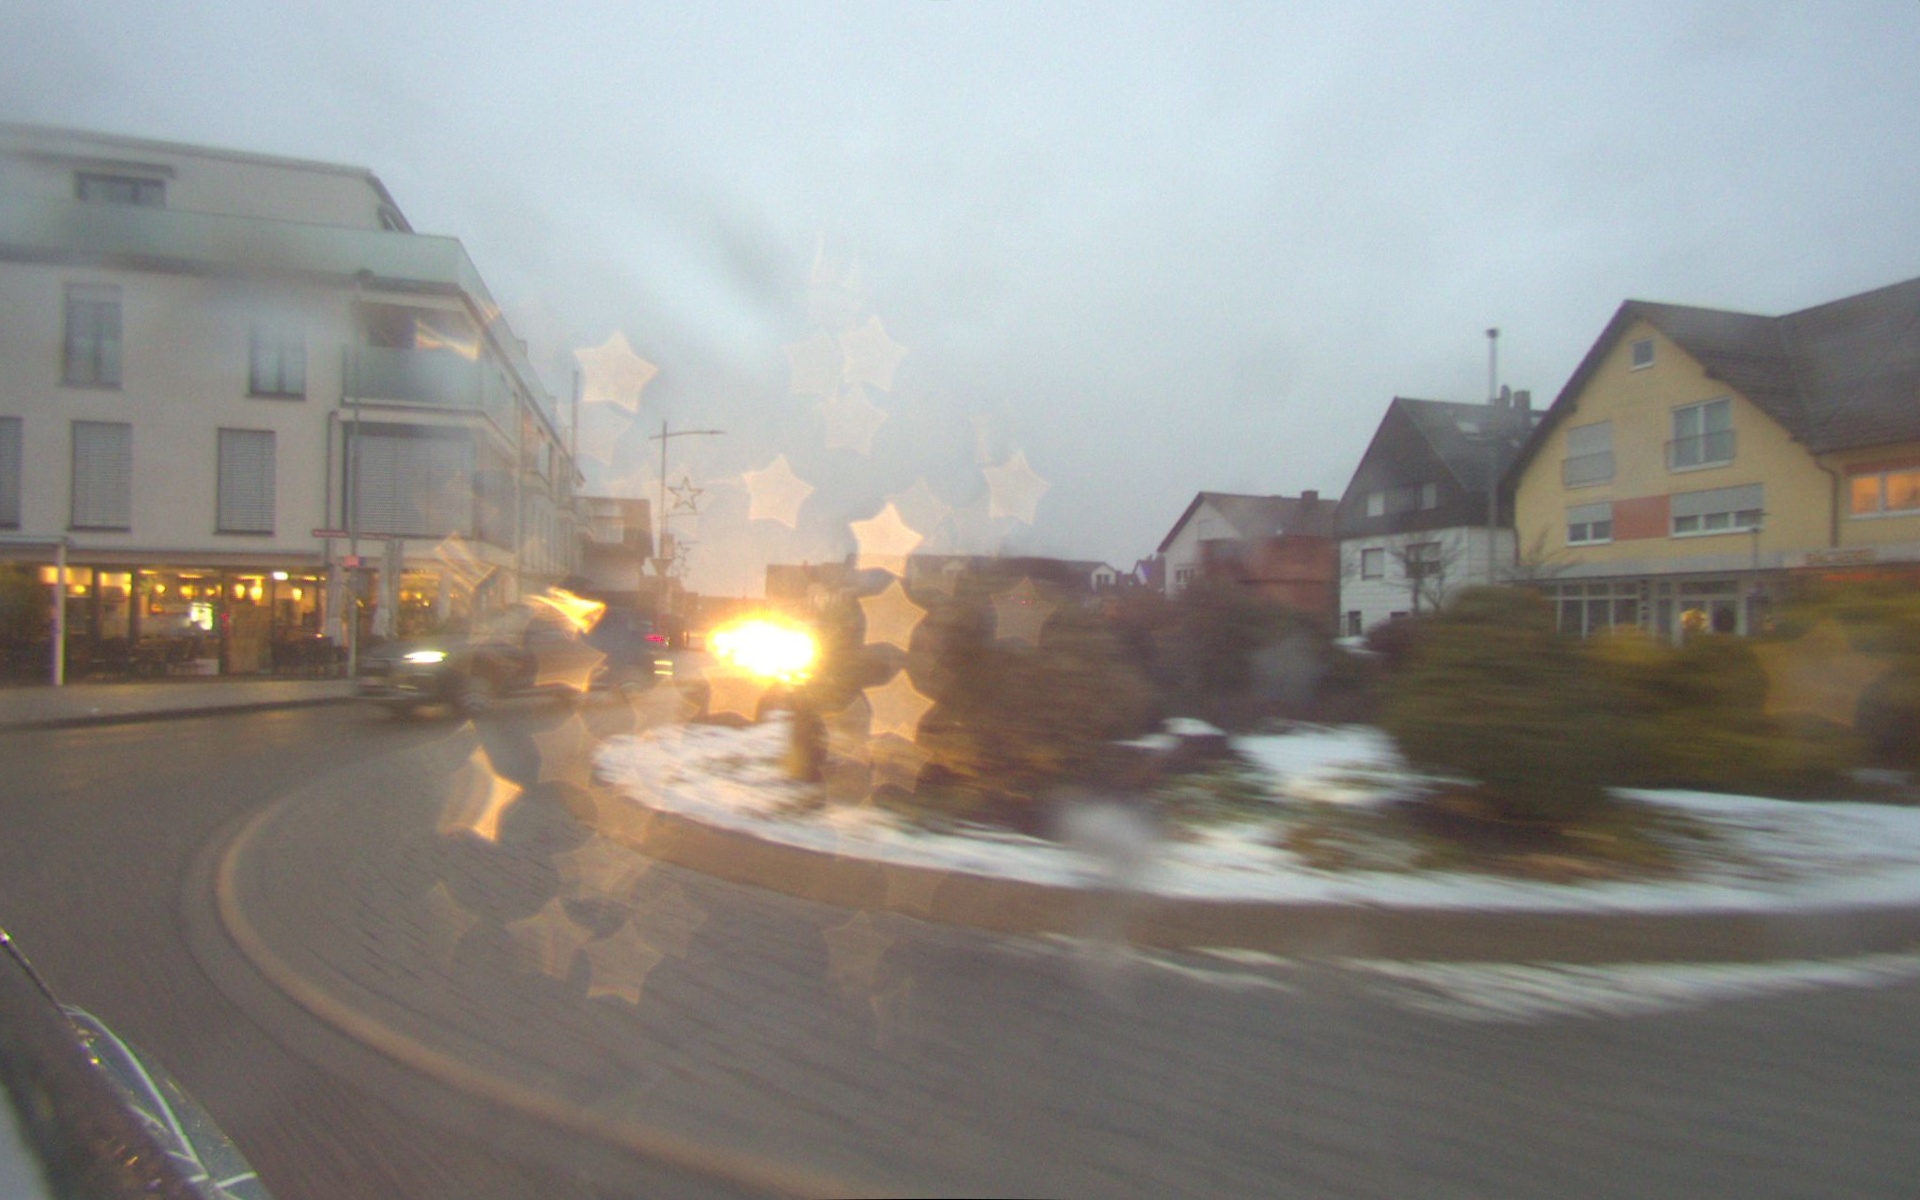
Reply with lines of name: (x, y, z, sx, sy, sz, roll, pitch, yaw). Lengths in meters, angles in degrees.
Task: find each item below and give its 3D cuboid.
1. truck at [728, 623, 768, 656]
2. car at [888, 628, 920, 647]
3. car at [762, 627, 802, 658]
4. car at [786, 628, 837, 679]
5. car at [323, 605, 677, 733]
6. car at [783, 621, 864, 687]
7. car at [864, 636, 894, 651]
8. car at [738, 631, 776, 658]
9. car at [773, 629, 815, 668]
truck: (-15.535, 2.874, 73.934, 2.210, 2.247, 6.123, 0, -2, -18)
car: (-5.731, 3.840, 103.317, 1.769, 1.841, 4.271, 2, -2, -26)
car: (-9.050, 2.144, 51.304, 1.713, 1.454, 4.010, -1, -2, -14)
car: (-5.122, 1.783, 34.795, 1.655, 1.636, 4.007, 0, -2, -9)
car: (-6.724, 0.900, 15.320, 1.948, 1.605, 4.580, -1, 0, 33)
car: (-3.799, 1.432, 27.643, 1.858, 1.591, 4.009, 3, -2, -12)
car: (-8.695, 4.682, 108.680, 1.647, 1.480, 4.029, 4, -4, -30)
car: (-12.483, 2.699, 62.105, 1.803, 1.556, 3.726, 0, -2, -19)
car: (-6.939, 1.999, 42.071, 1.547, 1.480, 3.625, -1, -2, -12)
